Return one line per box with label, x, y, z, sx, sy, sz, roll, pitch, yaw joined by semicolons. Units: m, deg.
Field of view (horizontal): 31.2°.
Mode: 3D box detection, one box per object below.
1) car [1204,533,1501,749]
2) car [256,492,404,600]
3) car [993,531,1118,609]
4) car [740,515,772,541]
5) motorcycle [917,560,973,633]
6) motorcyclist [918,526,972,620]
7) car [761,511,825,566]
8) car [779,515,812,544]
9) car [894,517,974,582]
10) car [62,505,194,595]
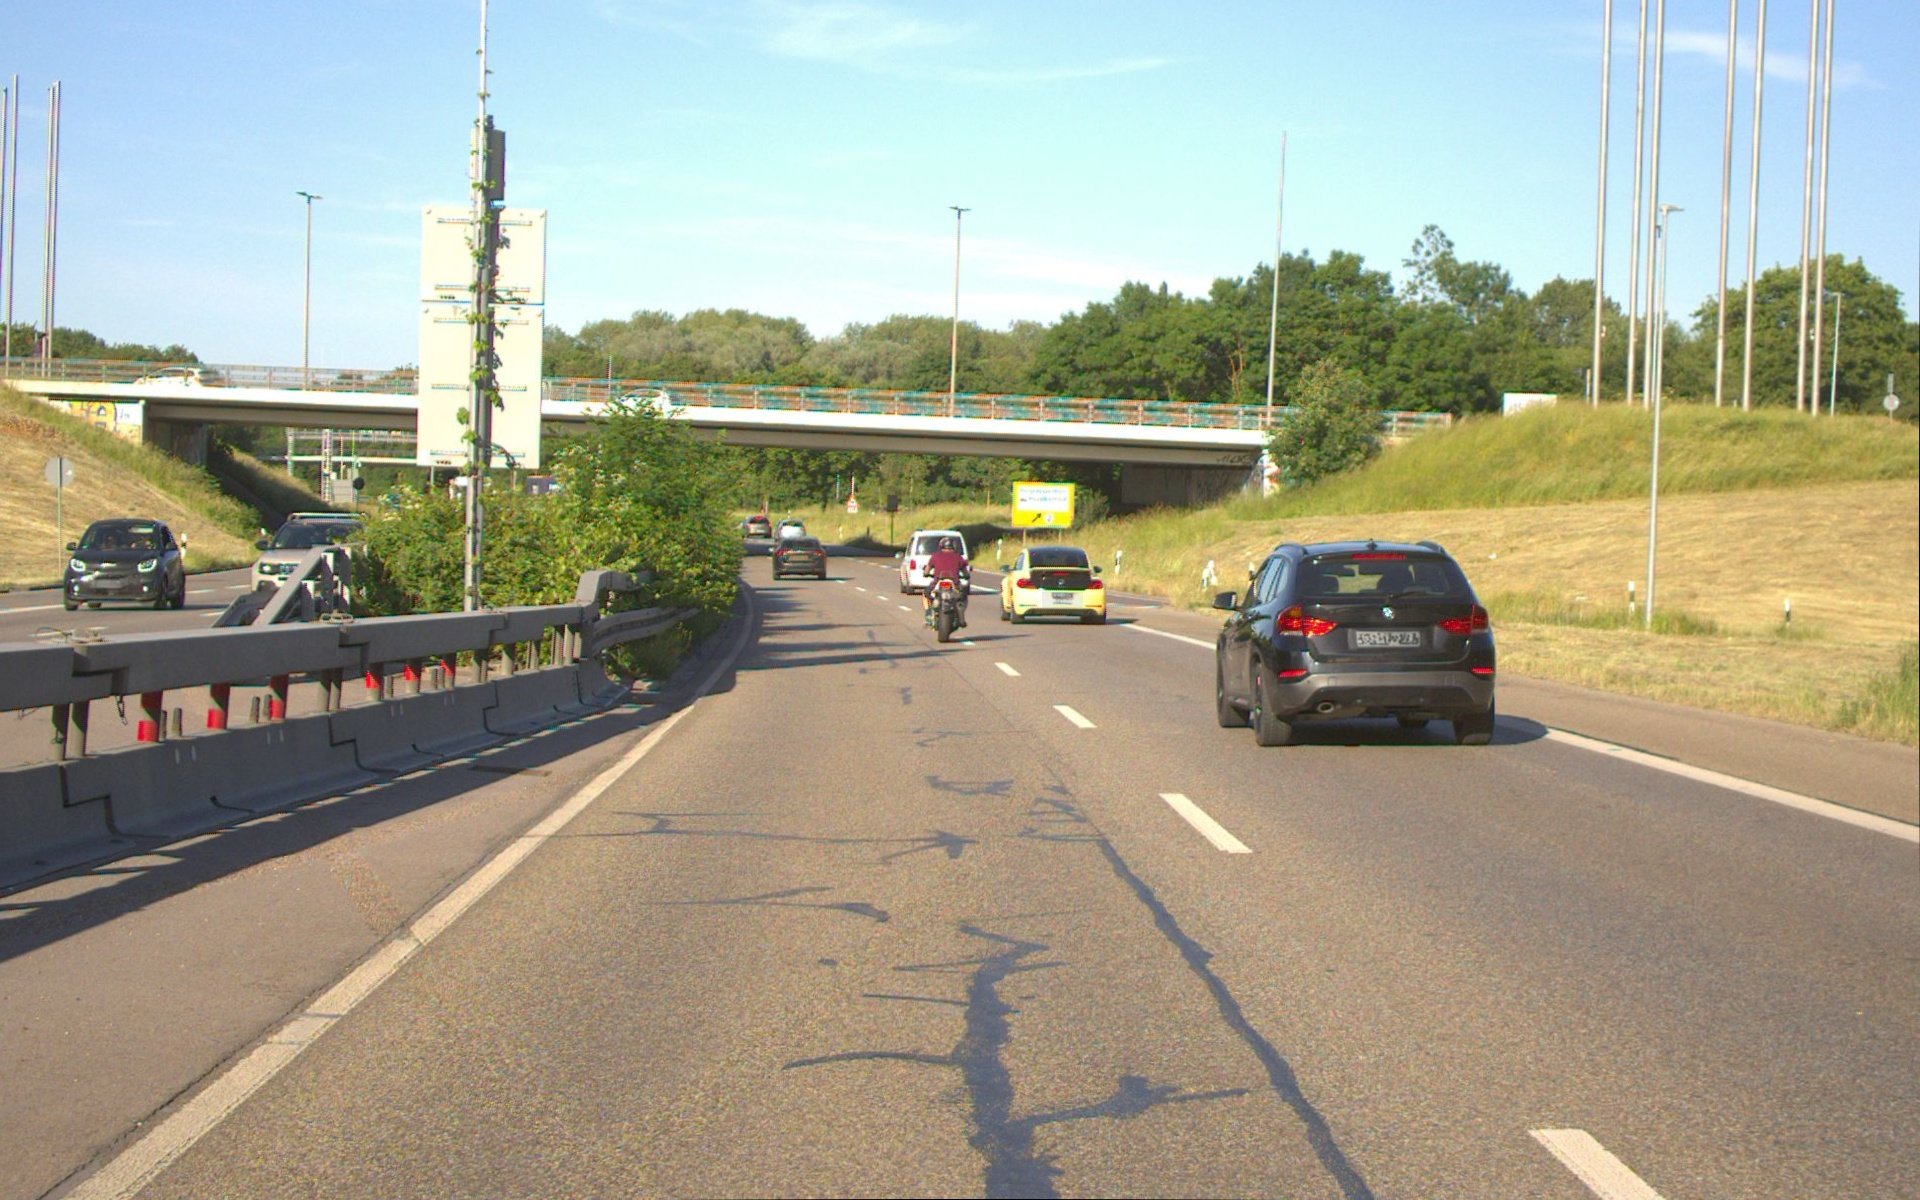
car;3.001;0.252;27.142;1.699;1.501;4.580;-1;2;-1
car;-9.616;-0.843;52.723;1.716;1.569;4.164;0;1;-3
car;1.802;-0.600;66.095;1.897;1.466;4.001;0;1;-6
car;-13.552;-4.809;228.875;1.869;1.679;4.000;2;1;-1
motorcycle;-0.226;-0.073;54.252;0.816;1.066;2.836;1;2;1
motorcyclist;-0.236;-0.434;54.162;0.816;1.442;1.094;1;1;1
car;-5.653;-2.081;116.191;1.897;1.761;4.001;1;2;-6
car;-10.080;-4.319;210.975;1.869;1.679;4.000;2;1;-1
car;-0.743;-1.418;95.643;1.897;1.761;4.001;-1;1;-5
car;-14.192;-0.873;58.791;1.609;1.480;3.393;0;1;-3
